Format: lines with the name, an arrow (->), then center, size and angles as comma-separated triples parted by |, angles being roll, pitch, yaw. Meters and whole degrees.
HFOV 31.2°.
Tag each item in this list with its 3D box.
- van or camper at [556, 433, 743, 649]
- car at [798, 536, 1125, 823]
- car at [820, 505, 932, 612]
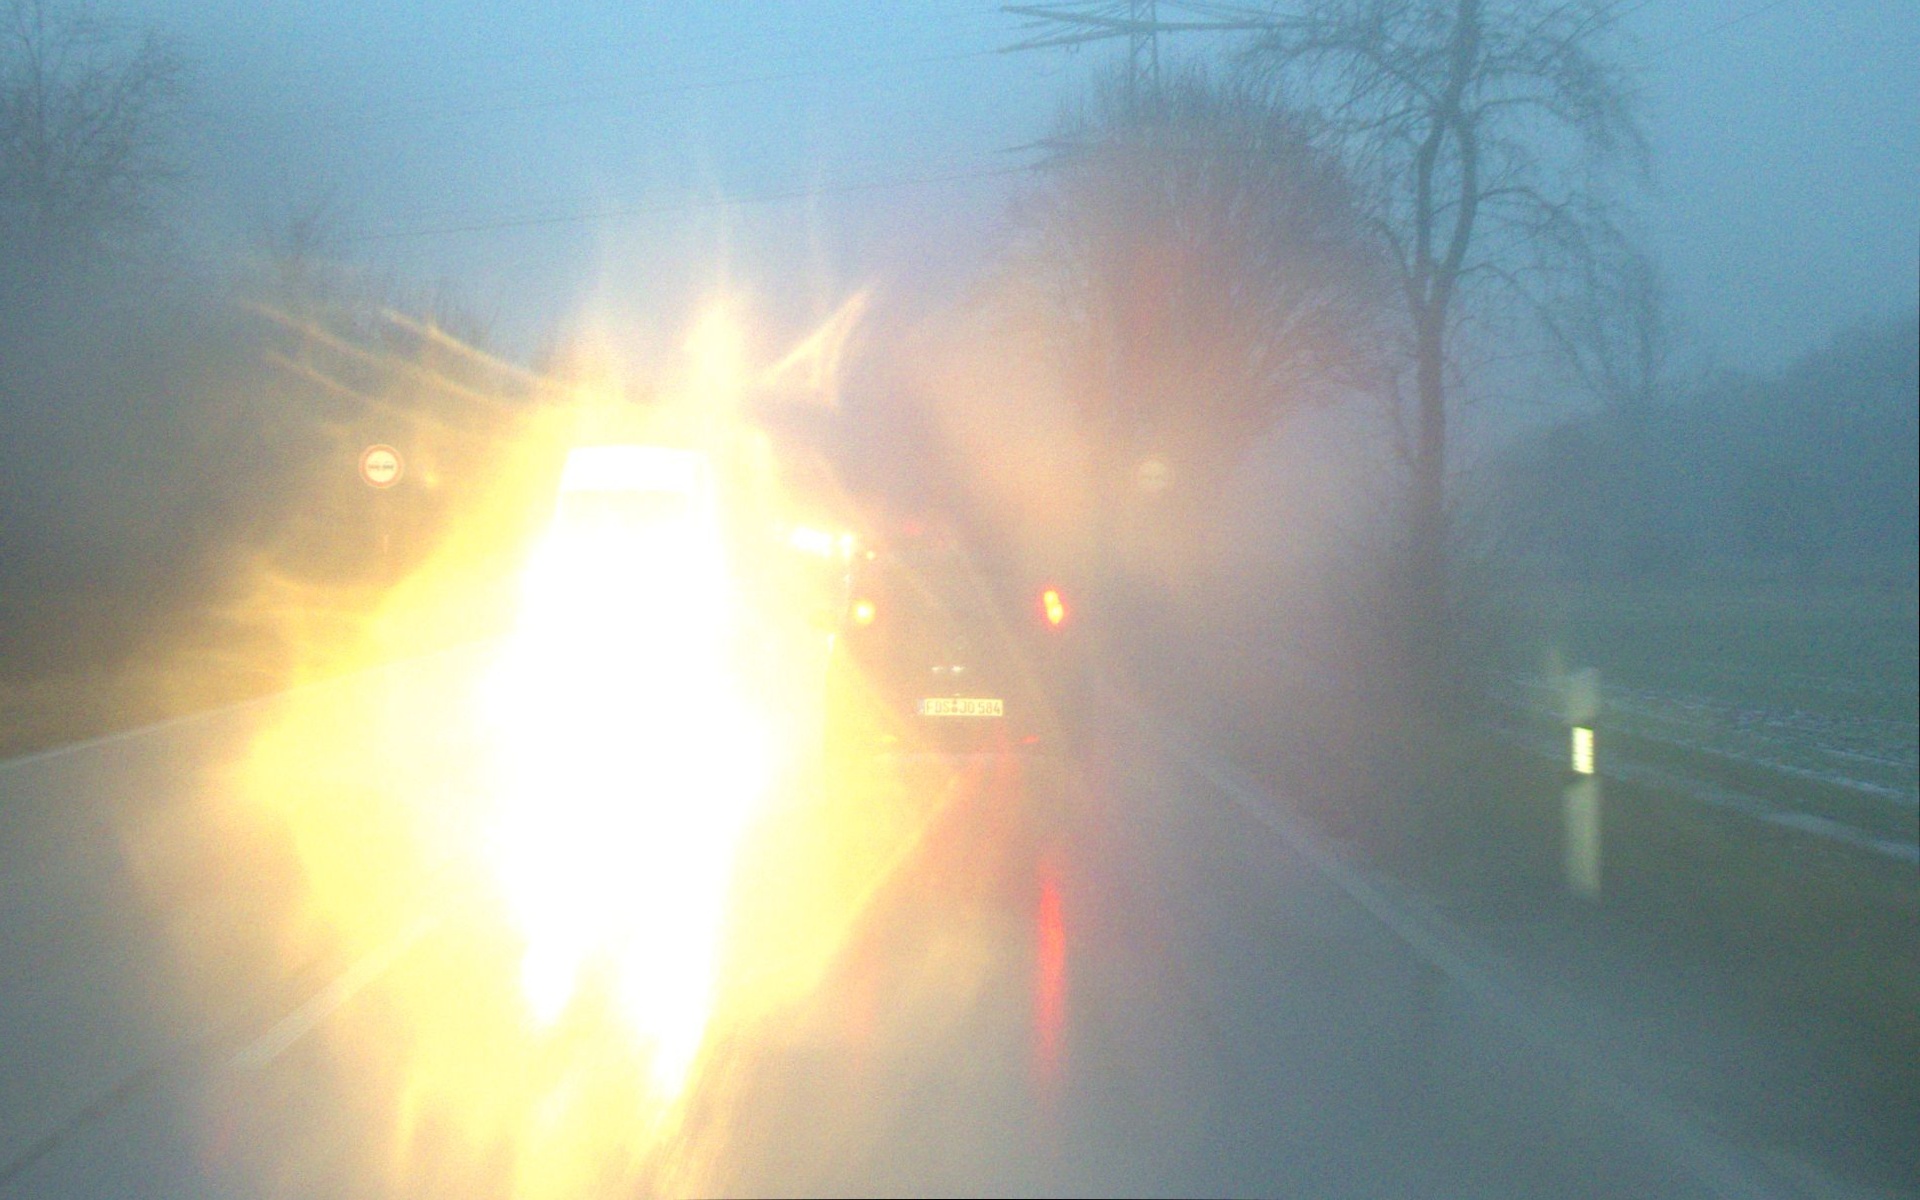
van or camper -> -4.206, -0.816, 47.655 | 2.021, 2.767, 6.744 | 0, 1, 0
car -> -0.022, 0.455, 22.973 | 1.993, 1.746, 4.000 | 0, 1, -1
car -> -1.607, -0.823, 67.126 | 1.993, 2.007, 4.000 | 0, 1, 1
